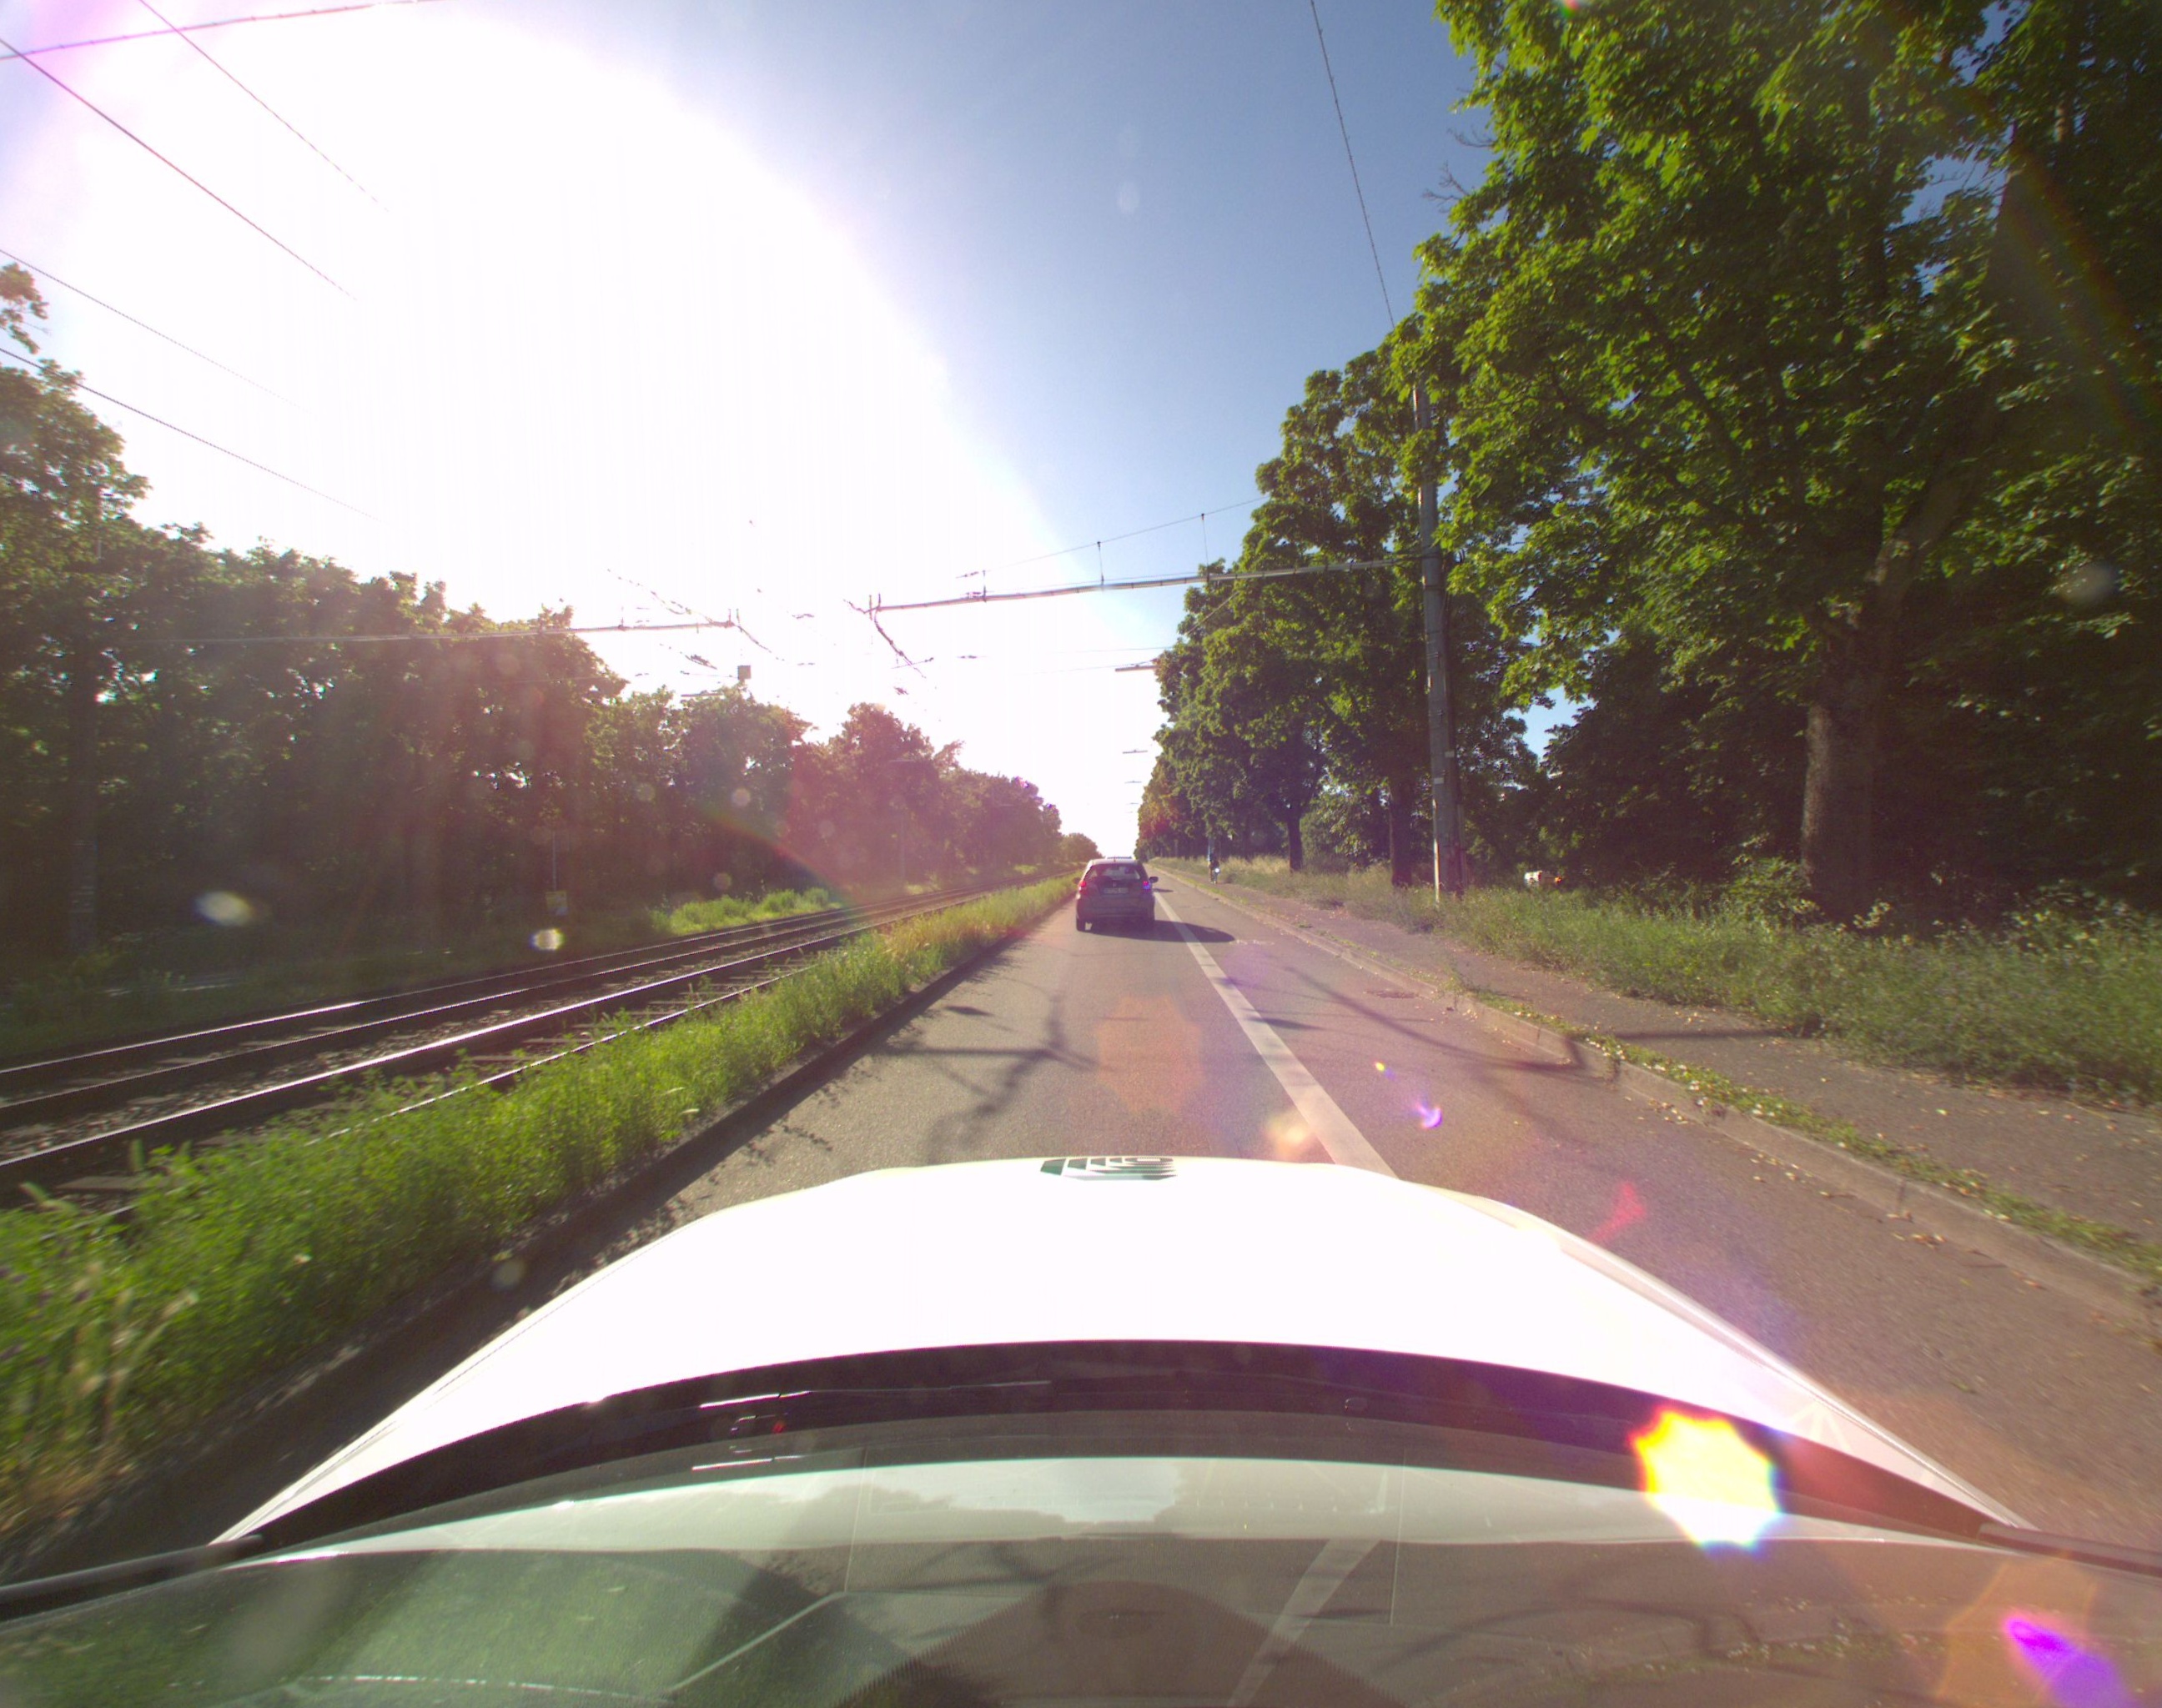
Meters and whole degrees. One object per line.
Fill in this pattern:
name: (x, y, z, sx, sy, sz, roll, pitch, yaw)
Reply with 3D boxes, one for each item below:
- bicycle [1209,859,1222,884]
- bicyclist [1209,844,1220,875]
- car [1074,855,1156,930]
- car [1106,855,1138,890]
bicycle: (6.567, 0.840, 39.840, 0.416, 1.188, 1.723, -2, 0, 3)
bicyclist: (6.593, 0.278, 40.189, 0.403, 1.507, 0.575, -2, 0, 2)
car: (0.765, 0.785, 18.424, 1.664, 1.515, 3.676, 0, 0, 2)
car: (1.959, 0.876, 38.190, 1.345, 1.528, 3.126, -2, -1, 4)
